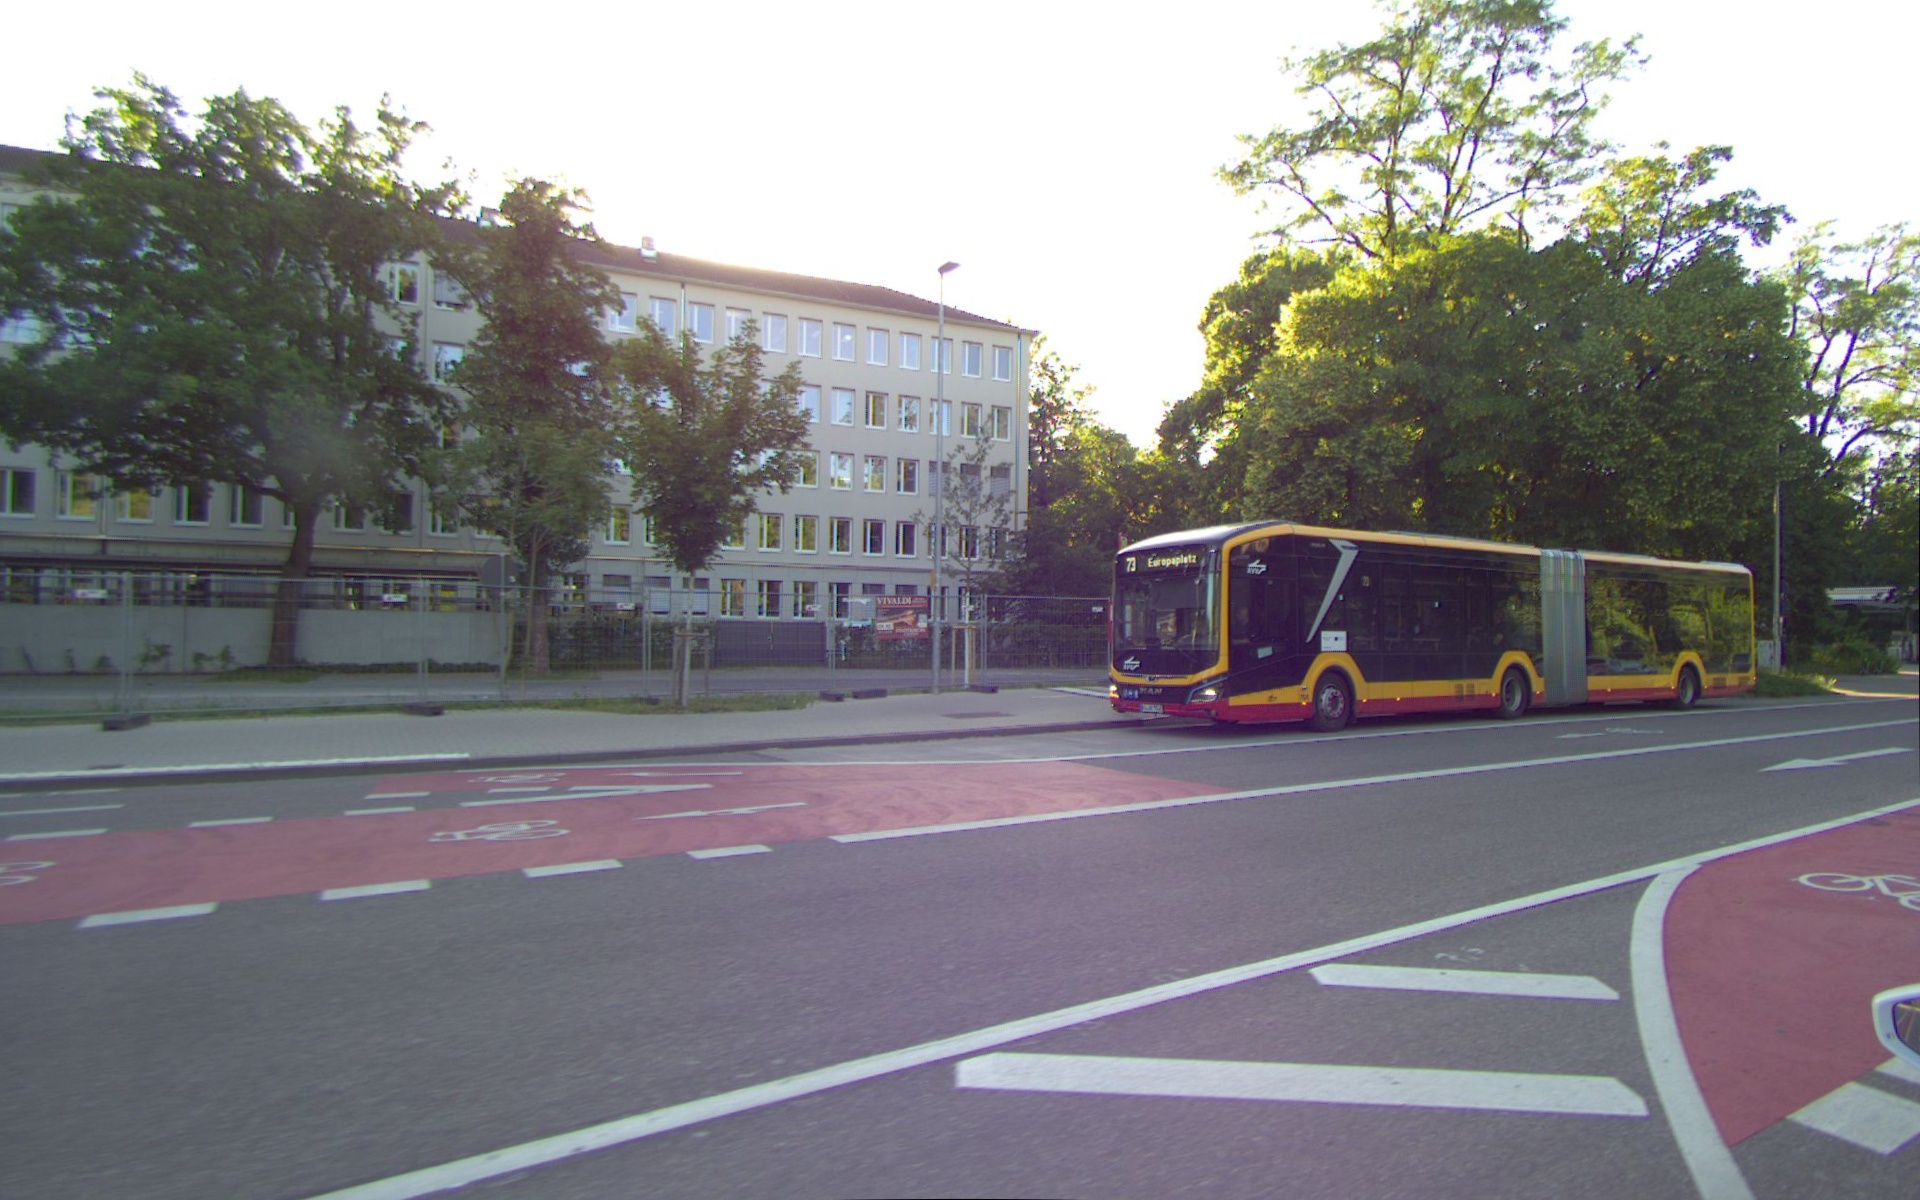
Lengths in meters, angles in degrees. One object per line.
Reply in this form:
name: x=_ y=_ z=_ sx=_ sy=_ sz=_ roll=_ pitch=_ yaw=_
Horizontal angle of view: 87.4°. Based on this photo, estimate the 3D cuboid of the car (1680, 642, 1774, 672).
car: x=37.747 y=2.796 z=49.493 sx=3.423 sy=1.418 sz=1.563 roll=1 pitch=-3 yaw=-1

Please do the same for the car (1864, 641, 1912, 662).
car: x=70.934 y=3.908 z=76.775 sx=4.530 sy=1.518 sz=1.700 roll=2 pitch=-2 yaw=-34

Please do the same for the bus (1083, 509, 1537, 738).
bus: x=6.379 y=0.469 z=17.651 sx=8.502 sy=3.239 sz=2.826 roll=2 pitch=-2 yaw=-32

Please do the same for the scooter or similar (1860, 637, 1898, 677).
scooter or similar: x=40.996 y=2.520 z=44.823 sx=1.722 sy=1.739 sz=0.823 roll=2 pitch=-2 yaw=-32

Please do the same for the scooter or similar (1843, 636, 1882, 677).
scooter or similar: x=39.360 y=2.456 z=43.818 sx=1.722 sy=1.739 sz=0.823 roll=2 pitch=-2 yaw=-32

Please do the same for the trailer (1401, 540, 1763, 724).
trailer: x=13.986 y=0.719 z=22.257 sx=9.255 sy=3.400 sz=2.840 roll=2 pitch=0 yaw=-31
